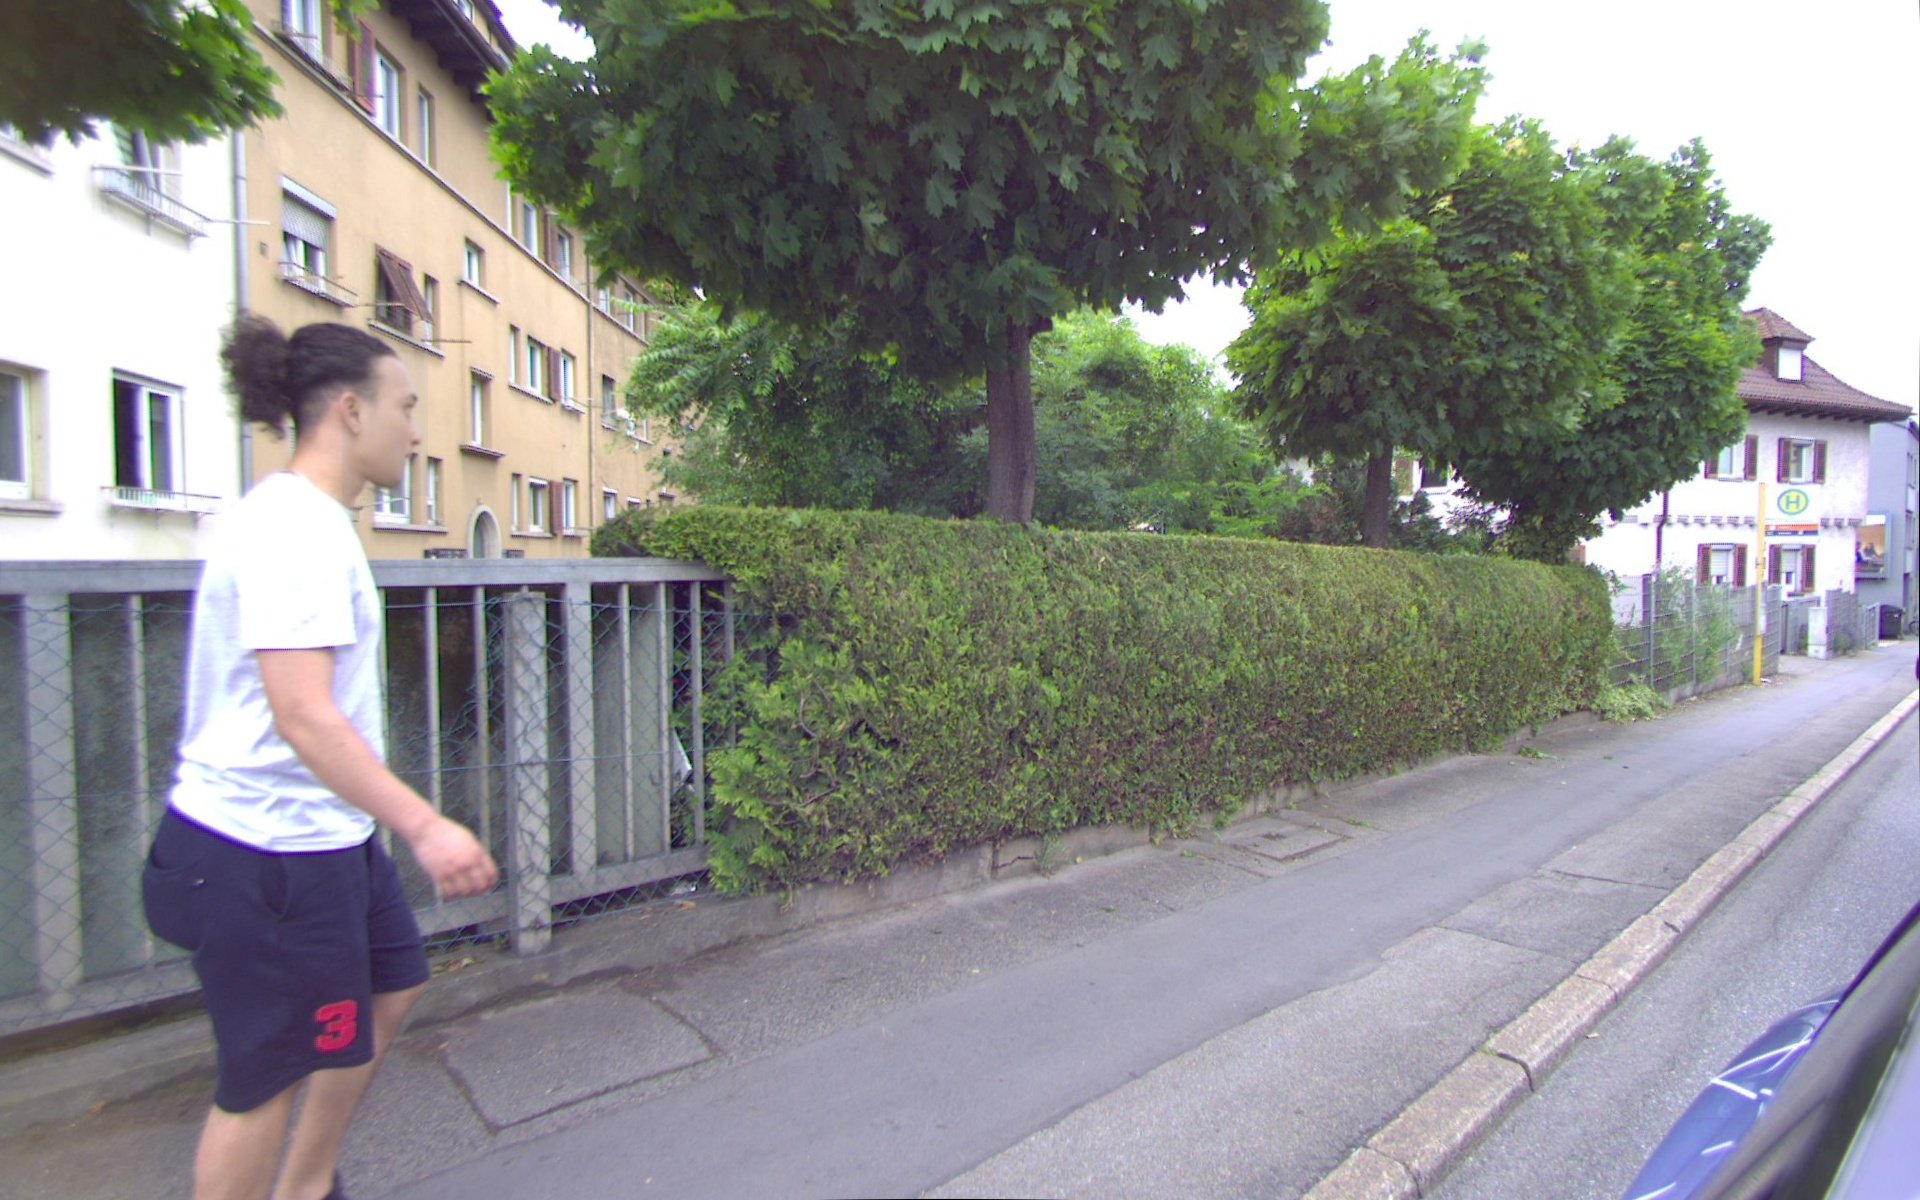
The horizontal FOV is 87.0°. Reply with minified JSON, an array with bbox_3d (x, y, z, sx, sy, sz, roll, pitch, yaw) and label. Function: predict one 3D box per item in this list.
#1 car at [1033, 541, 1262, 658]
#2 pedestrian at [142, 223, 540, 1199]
[{"bbox_3d":[3.474,-0.030,19.347,3.923,2.039,2.001,1,1,-1],"label":"car"},{"bbox_3d":[-1.118,0.354,1.780,0.459,1.758,0.695,0,4,-42],"label":"pedestrian"}]
